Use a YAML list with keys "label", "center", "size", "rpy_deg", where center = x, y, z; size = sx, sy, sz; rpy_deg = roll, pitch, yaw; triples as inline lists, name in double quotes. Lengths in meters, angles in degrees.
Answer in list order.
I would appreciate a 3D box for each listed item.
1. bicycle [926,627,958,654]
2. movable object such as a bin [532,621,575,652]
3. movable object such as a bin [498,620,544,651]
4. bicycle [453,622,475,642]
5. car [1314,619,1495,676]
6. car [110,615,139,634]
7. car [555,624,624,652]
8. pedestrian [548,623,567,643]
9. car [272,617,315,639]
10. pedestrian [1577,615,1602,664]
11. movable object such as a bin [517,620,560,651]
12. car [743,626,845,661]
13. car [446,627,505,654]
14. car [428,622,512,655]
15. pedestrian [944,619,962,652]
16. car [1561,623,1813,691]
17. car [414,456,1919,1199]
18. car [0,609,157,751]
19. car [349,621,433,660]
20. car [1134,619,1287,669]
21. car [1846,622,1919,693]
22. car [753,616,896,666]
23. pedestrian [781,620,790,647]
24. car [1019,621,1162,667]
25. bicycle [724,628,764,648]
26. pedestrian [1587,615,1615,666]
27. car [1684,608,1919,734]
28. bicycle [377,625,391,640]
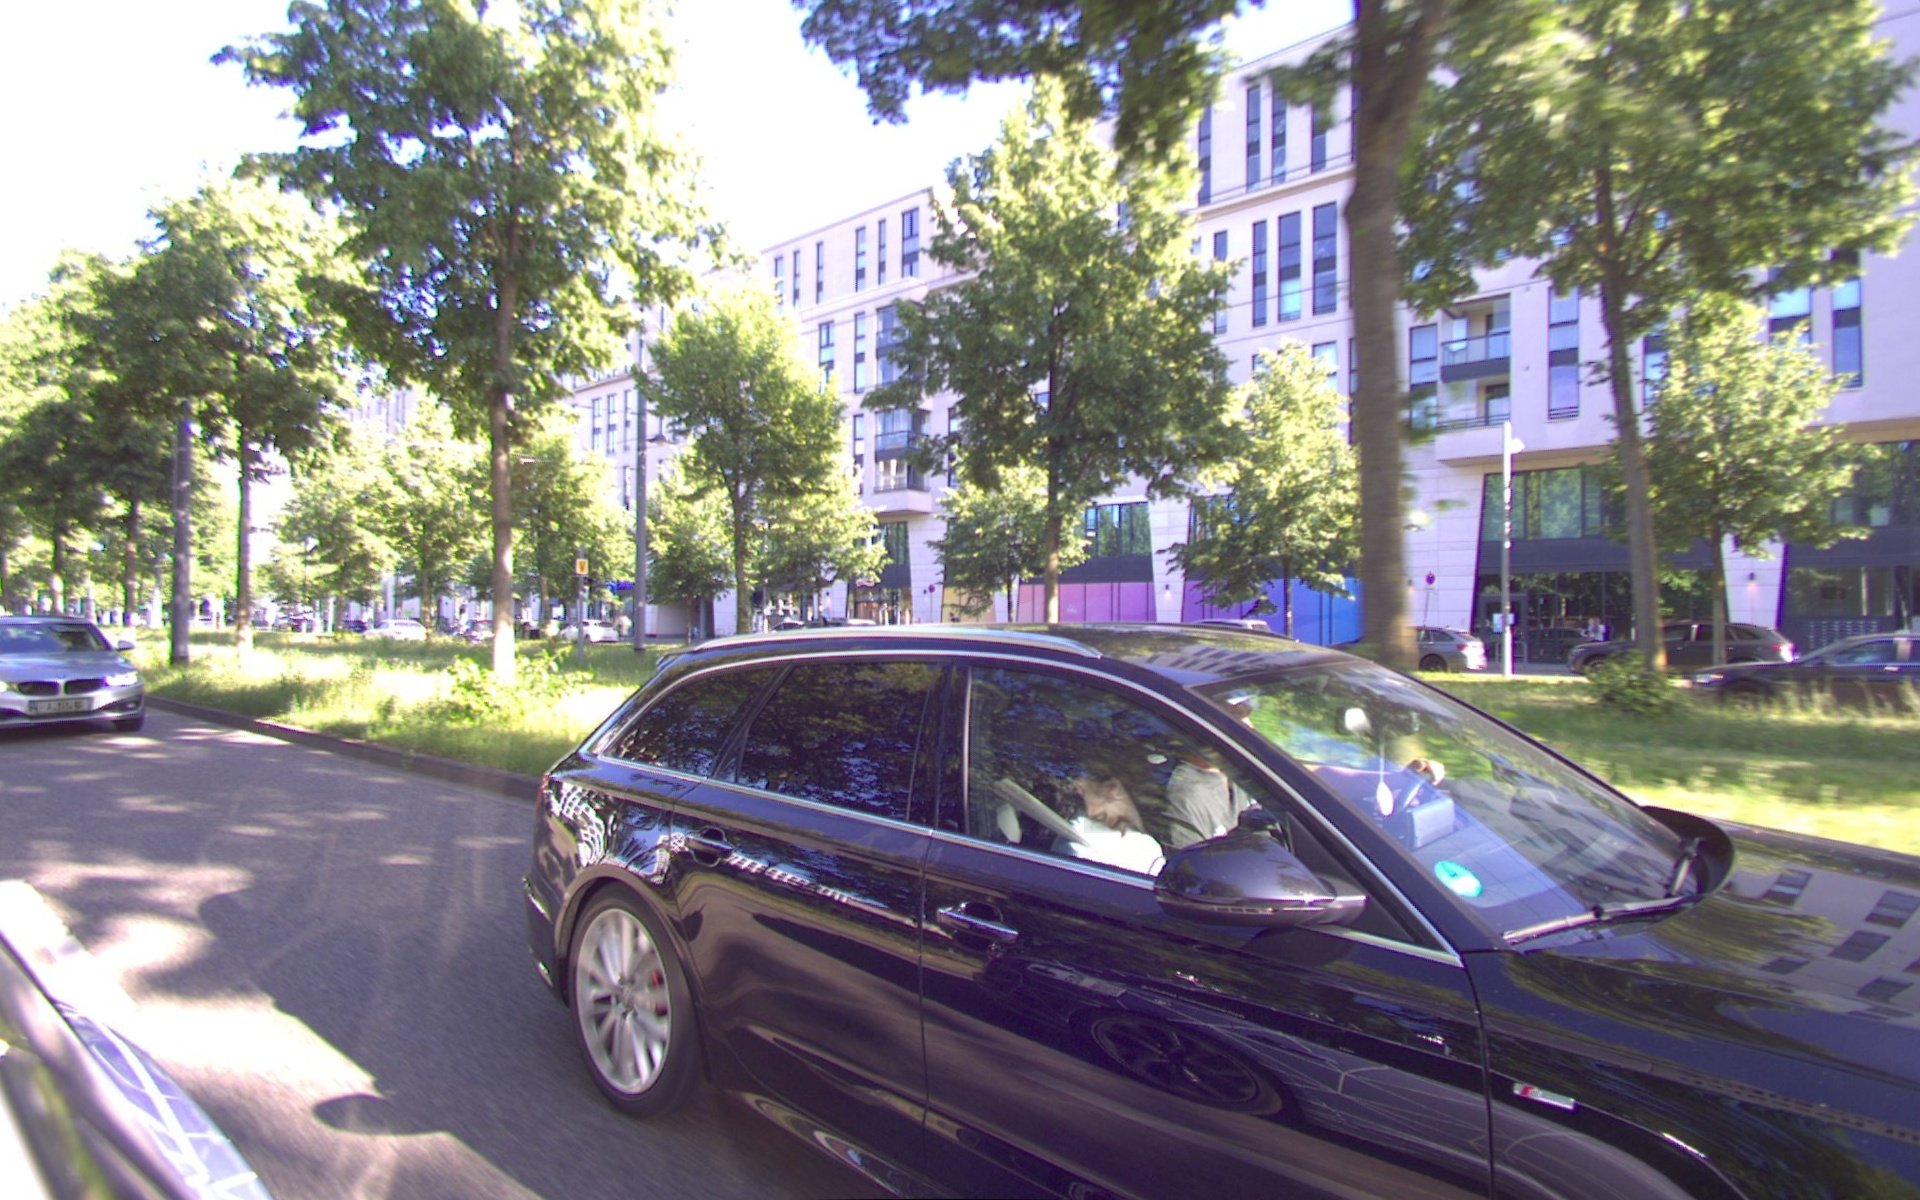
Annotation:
- label: "bicycle"
  center: [-0.901, 2.037, 50.775]
  size: [1.606, 1.290, 0.592]
  rpy_deg: [-1, 0, 39]
- label: "movable object such as a bin"
  center: [-24.610, 2.179, 61.295]
  size: [1.554, 1.808, 1.951]
  rpy_deg: [-1, 0, 39]
- label: "movable object such as a bin"
  center: [-27.621, 2.203, 63.707]
  size: [2.008, 1.808, 1.951]
  rpy_deg: [-1, 0, 38]
- label: "bicycle"
  center: [-42.048, 2.708, 85.808]
  size: [3.034, 1.557, 0.611]
  rpy_deg: [0, 0, 43]
- label: "car"
  center: [12.818, 1.304, 29.305]
  size: [4.450, 1.452, 1.974]
  rpy_deg: [0, 0, 39]
- label: "car"
  center: [-92.017, 2.707, 111.404]
  size: [4.001, 2.029, 1.971]
  rpy_deg: [0, 0, 44]
- label: "car"
  center: [-21.617, 2.196, 58.996]
  size: [4.015, 1.452, 1.974]
  rpy_deg: [0, 0, 39]
- label: "pedestrian"
  center: [-31.539, 2.570, 79.253]
  size: [1.024, 1.479, 0.939]
  rpy_deg: [-1, 0, 32]
- label: "car"
  center: [-61.861, 2.612, 93.933]
  size: [4.548, 2.029, 1.974]
  rpy_deg: [-1, -2, 38]
- label: "pedestrian"
  center: [21.709, 1.353, 34.891]
  size: [0.718, 1.663, 0.630]
  rpy_deg: [-1, 0, 34]
- label: "movable object such as a bin"
  center: [-25.990, 2.190, 62.453]
  size: [1.554, 1.808, 1.951]
  rpy_deg: [-1, 0, 39]
- label: "car"
  center: [-7.800, 1.978, 47.317]
  size: [4.919, 1.452, 1.974]
  rpy_deg: [0, 0, 39]
- label: "car"
  center: [-33.243, 2.746, 69.449]
  size: [4.333, 1.742, 1.974]
  rpy_deg: [0, 0, 39]
- label: "car"
  center: [-24.574, 1.886, 50.653]
  size: [5.109, 1.452, 1.972]
  rpy_deg: [0, 0, 42]
- label: "pedestrian"
  center: [-0.358, 1.830, 51.995]
  size: [0.719, 1.663, 0.629]
  rpy_deg: [-1, 0, 39]
- label: "car"
  center: [17.989, 1.347, 25.244]
  size: [4.931, 1.452, 1.974]
  rpy_deg: [0, 0, 39]
- label: "car"
  center: [0.700, 0.639, 2.617]
  size: [5.079, 1.492, 1.933]
  rpy_deg: [-2, -2, 39]
- label: "car"
  center: [-12.217, 0.932, 13.313]
  size: [4.276, 1.590, 1.862]
  rpy_deg: [0, 0, 41]
- label: "car"
  center: [-27.886, 1.940, 49.525]
  size: [5.107, 1.698, 1.973]
  rpy_deg: [0, 0, 41]
- label: "car"
  center: [8.126, 1.371, 33.083]
  size: [4.453, 1.452, 1.973]
  rpy_deg: [0, 0, 41]
- label: "car"
  center: [21.930, 1.234, 21.572]
  size: [4.450, 1.452, 1.974]
  rpy_deg: [0, 0, 39]
- label: "car"
  center: [-4.472, 1.298, 33.075]
  size: [4.698, 1.452, 1.974]
  rpy_deg: [0, 0, 40]
- label: "pedestrian"
  center: [-10.420, 2.009, 60.303]
  size: [0.494, 1.561, 0.522]
  rpy_deg: [-1, 0, -7]
- label: "car"
  center: [4.633, 1.531, 36.389]
  size: [4.773, 1.452, 1.974]
  rpy_deg: [0, 0, 39]
- label: "bicycle"
  center: [-13.008, 2.271, 60.927]
  size: [2.369, 1.145, 0.860]
  rpy_deg: [-1, 0, 31]
- label: "pedestrian"
  center: [21.524, 1.360, 33.990]
  size: [0.719, 1.663, 0.629]
  rpy_deg: [-1, 0, 39]
- label: "car"
  center: [14.643, 1.059, 15.812]
  size: [5.248, 1.855, 1.973]
  rpy_deg: [-1, -2, 41]
- label: "bicycle"
  center: [-55.643, 3.131, 97.757]
  size: [0.654, 1.335, 2.338]
  rpy_deg: [-1, 0, -43]
